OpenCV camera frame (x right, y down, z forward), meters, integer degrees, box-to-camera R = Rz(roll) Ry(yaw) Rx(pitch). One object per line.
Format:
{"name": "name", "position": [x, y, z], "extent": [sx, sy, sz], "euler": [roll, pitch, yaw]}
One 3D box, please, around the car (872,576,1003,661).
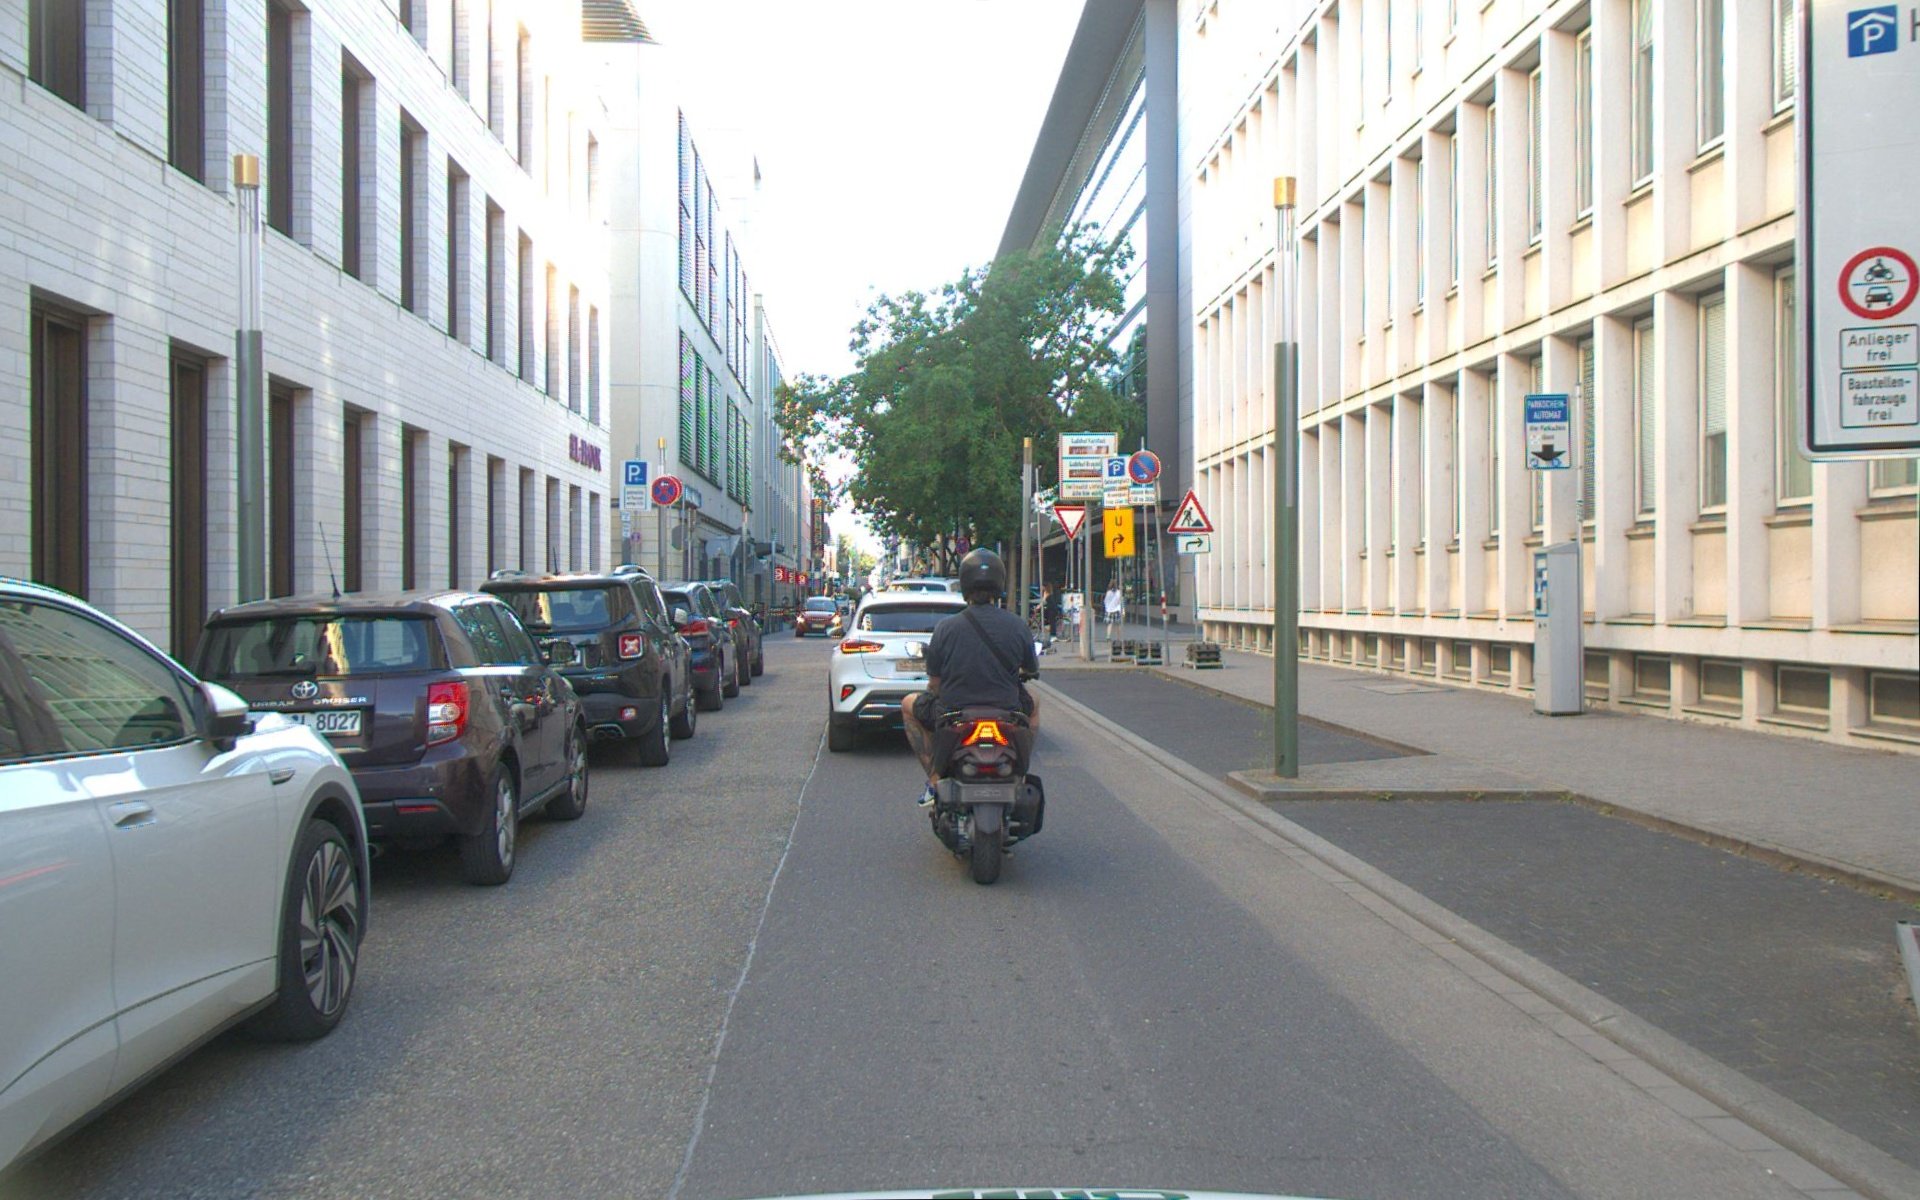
{"name": "car", "position": [-0.429, 0.368, 37.626], "extent": [1.784, 1.674, 4.498], "euler": [-3, 1, 14]}

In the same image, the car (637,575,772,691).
{"name": "car", "position": [-4.207, 0.480, 27.787], "extent": [1.787, 1.707, 4.260], "euler": [-3, 1, -4]}

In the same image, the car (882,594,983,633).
{"name": "car", "position": [-1.428, 0.693, 84.662], "extent": [4.909, 1.525, 1.998], "euler": [-5, 0, -6]}

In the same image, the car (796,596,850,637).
{"name": "car", "position": [-5.344, 0.677, 64.801], "extent": [1.785, 1.491, 4.262], "euler": [-1, -2, -1]}

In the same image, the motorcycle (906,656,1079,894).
{"name": "motorcycle", "position": [0.132, 0.895, 9.098], "extent": [0.855, 1.129, 1.839], "euler": [0, -1, -2]}

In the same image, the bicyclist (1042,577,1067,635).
{"name": "bicyclist", "position": [2.720, 0.177, 47.803], "extent": [0.616, 1.654, 0.498], "euler": [0, -1, 18]}

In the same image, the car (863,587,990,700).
{"name": "car", "position": [-0.623, 0.632, 26.761], "extent": [1.786, 1.568, 4.361], "euler": [-3, 1, -4]}

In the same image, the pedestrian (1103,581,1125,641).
{"name": "pedestrian", "position": [4.161, 0.290, 44.704], "extent": [0.548, 1.611, 0.598], "euler": [0, -1, -1]}

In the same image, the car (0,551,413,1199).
{"name": "car", "position": [-2.933, 0.719, 4.068], "extent": [1.786, 1.568, 4.444], "euler": [-3, 1, -2]}

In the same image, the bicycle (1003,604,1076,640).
{"name": "bicycle", "position": [2.302, 0.636, 47.938], "extent": [2.058, 1.012, 0.518], "euler": [0, -1, 19]}

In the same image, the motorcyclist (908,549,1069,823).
{"name": "motorcyclist", "position": [0.145, 0.458, 9.015], "extent": [0.849, 1.452, 0.455], "euler": [0, -1, -2]}

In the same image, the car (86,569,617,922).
{"name": "car", "position": [-3.312, 0.660, 9.960], "extent": [1.786, 1.568, 4.260], "euler": [-3, 1, -4]}

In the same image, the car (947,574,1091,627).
{"name": "car", "position": [2.088, 0.031, 59.610], "extent": [4.909, 1.477, 1.998], "euler": [-5, 0, -6]}

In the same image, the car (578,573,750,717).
{"name": "car", "position": [-3.805, 0.514, 21.867], "extent": [1.705, 1.622, 4.151], "euler": [-3, 1, -4]}

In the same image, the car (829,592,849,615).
{"name": "car", "position": [-12.670, 0.365, 172.305], "extent": [1.955, 2.370, 5.015], "euler": [1, 0, -5]}

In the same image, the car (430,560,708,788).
{"name": "car", "position": [-3.461, 0.569, 15.378], "extent": [1.786, 1.744, 4.015], "euler": [-3, 1, -4]}

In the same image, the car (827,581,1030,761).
{"name": "car", "position": [-0.411, 0.603, 16.821], "extent": [1.786, 1.568, 4.260], "euler": [-1, 1, -4]}
